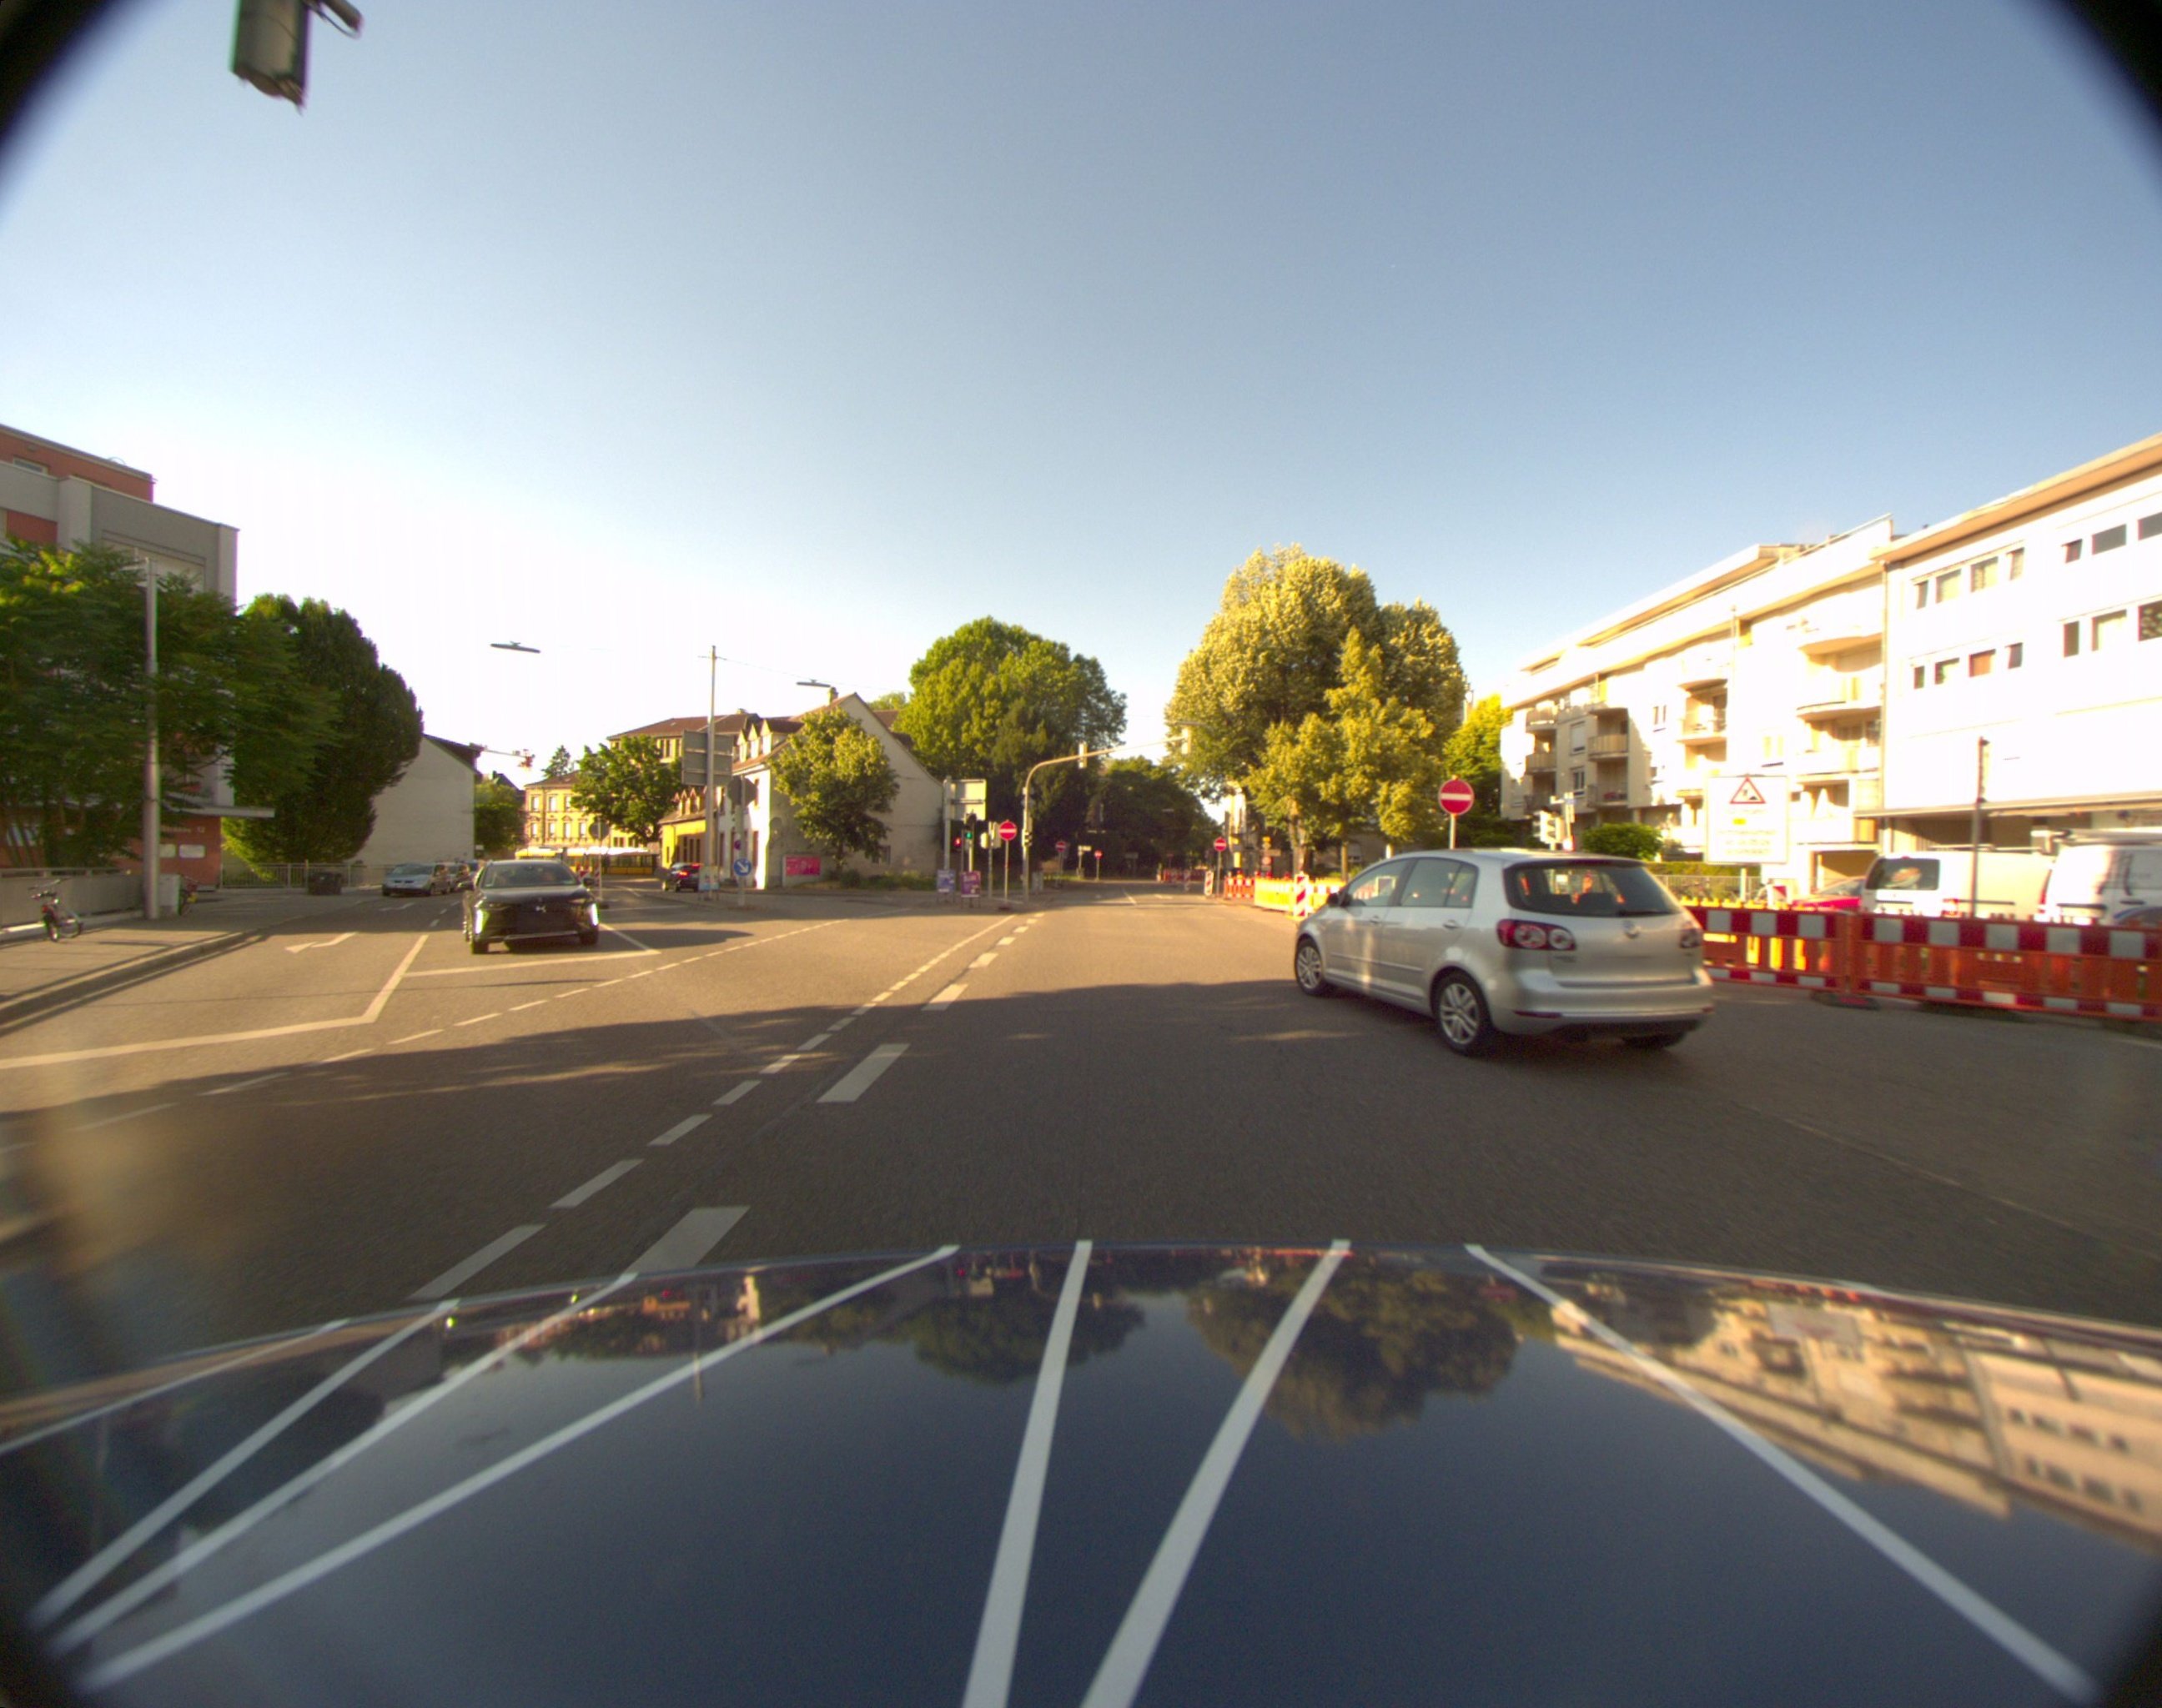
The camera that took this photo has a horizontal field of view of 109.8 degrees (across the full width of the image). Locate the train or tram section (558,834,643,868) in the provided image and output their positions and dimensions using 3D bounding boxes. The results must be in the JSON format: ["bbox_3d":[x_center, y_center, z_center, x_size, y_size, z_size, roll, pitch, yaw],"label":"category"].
[{"bbox_3d":[-52.657,-0.245,83.238,9.247,3.498,2.803,-1,0,21],"label":"train or tram section"}]

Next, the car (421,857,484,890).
[{"bbox_3d":[-35.770,1.101,43.339,2.003,1.770,4.219,0,-1,-29],"label":"car"}]

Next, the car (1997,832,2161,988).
[{"bbox_3d":[15.877,0.673,10.124,4.678,1.953,2.118,-1,-1,2],"label":"car"}]

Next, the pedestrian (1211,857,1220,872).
[{"bbox_3d":[15.246,1.204,86.339,0.823,1.594,0.917,-1,0,-3],"label":"pedestrian"}]

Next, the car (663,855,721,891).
[{"bbox_3d":[-21.370,1.036,41.638,2.005,1.804,4.240,4,-3,-38],"label":"car"}]

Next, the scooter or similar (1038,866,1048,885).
[{"bbox_3d":[-2.514,1.408,50.295,0.439,1.195,1.259,3,0,7],"label":"scooter or similar"}]

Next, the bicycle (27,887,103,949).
[{"bbox_3d":[-19.216,1.182,14.407,1.918,1.062,0.617,-1,-1,44],"label":"bicycle"}]

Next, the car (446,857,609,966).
[{"bbox_3d":[-10.682,0.931,14.506,2.004,1.661,4.651,-4,2,-41],"label":"car"}]

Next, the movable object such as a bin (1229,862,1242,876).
[{"bbox_3d":[16.222,1.587,79.825,1.085,1.422,1.346,-1,0,1],"label":"movable object such as a bin"}]

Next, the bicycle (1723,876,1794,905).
[{"bbox_3d":[24.463,1.331,27.452,2.032,1.020,0.385,-1,0,8],"label":"bicycle"}]

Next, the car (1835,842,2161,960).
[{"bbox_3d":[16.182,0.765,13.008,4.322,1.841,2.001,-1,-1,6],"label":"car"}]

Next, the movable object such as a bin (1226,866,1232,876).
[{"bbox_3d":[16.370,1.890,84.095,0.637,1.035,0.764,-1,0,6],"label":"movable object such as a bin"}]

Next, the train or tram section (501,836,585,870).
[{"bbox_3d":[-61.391,-0.042,86.611,9.843,3.580,2.853,-1,-1,21],"label":"train or tram section"}]

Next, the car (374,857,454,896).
[{"bbox_3d":[-32.098,1.061,36.687,2.003,1.770,4.219,0,-1,-29],"label":"car"}]

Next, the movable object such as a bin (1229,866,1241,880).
[{"bbox_3d":[16.523,2.047,81.524,1.085,1.422,1.407,-1,0,1],"label":"movable object such as a bin"}]

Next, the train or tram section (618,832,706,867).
[{"bbox_3d":[-44.133,-0.406,79.954,9.247,3.498,2.803,-1,0,21],"label":"train or tram section"}]

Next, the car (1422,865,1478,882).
[{"bbox_3d":[32.574,1.698,67.233,3.995,1.477,2.001,1,0,6],"label":"car"}]

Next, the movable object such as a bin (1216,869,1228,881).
[{"bbox_3d":[16.564,2.465,89.015,1.083,1.422,1.409,-1,-1,21],"label":"movable object such as a bin"}]

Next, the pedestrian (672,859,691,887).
[{"bbox_3d":[-26.595,1.235,50.575,0.959,1.827,1.286,-1,0,-33],"label":"pedestrian"}]

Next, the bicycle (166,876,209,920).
[{"bbox_3d":[-24.941,1.203,21.230,2.327,1.171,0.713,-1,-1,42],"label":"bicycle"}]

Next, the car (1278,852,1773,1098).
[{"bbox_3d":[3.441,0.796,6.911,1.781,1.533,3.998,-1,-1,-8],"label":"car"}]

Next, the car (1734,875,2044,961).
[{"bbox_3d":[16.024,1.232,15.276,4.000,1.470,2.001,-2,-1,2],"label":"car"}]

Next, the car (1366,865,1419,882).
[{"bbox_3d":[27.798,1.729,67.951,3.995,1.477,2.001,1,0,6],"label":"car"}]

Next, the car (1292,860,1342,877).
[{"bbox_3d":[21.448,1.307,69.120,3.995,1.543,2.001,1,0,6],"label":"car"}]
